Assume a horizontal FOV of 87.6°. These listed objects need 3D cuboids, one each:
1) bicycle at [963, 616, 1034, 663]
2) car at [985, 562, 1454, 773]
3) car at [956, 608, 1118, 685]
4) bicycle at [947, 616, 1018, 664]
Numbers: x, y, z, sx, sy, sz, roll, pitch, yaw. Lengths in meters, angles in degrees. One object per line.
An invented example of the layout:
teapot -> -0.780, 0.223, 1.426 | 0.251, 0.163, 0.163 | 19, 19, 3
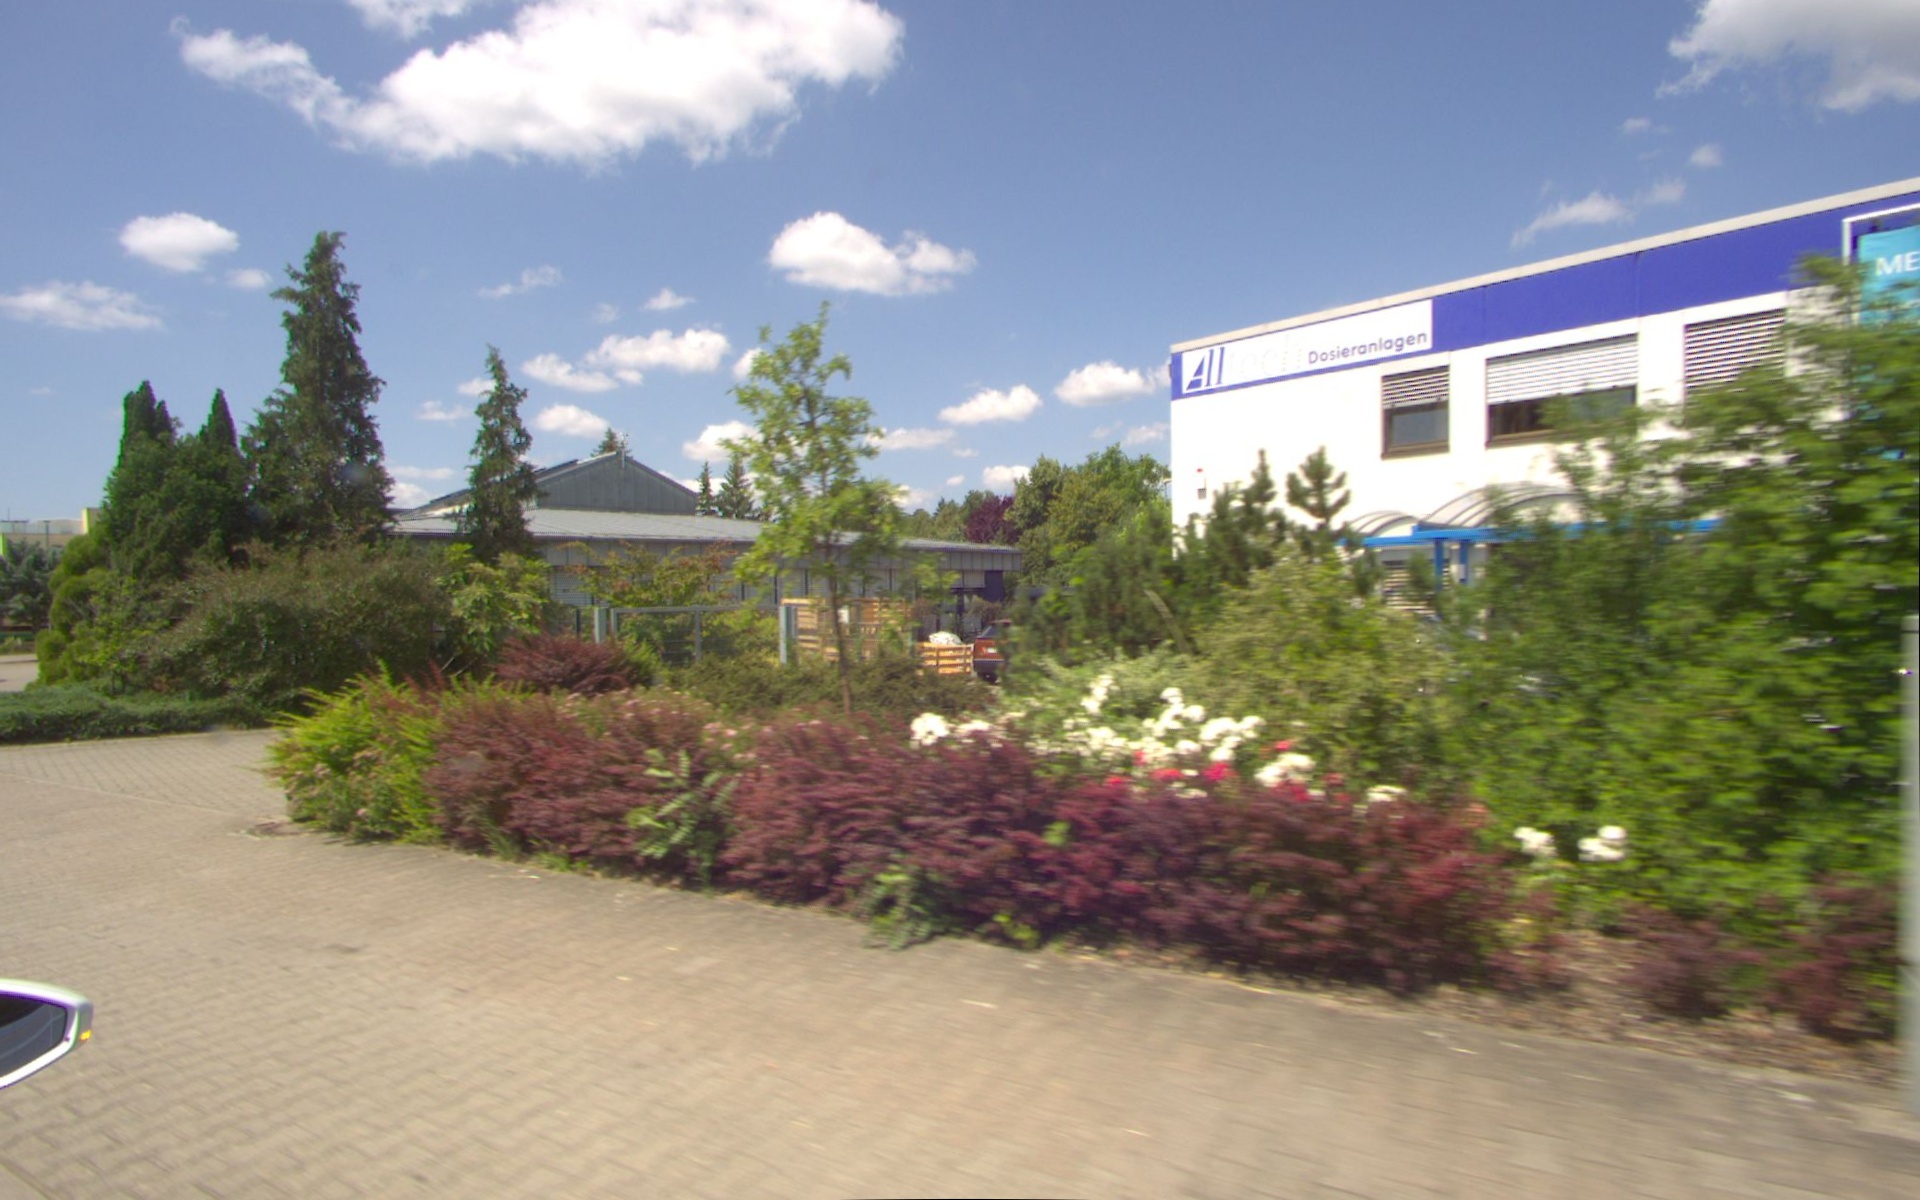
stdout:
bicycle -> 1.182, 1.242, 31.149 | 2.197, 1.380, 0.713 | -3, 0, 43
car -> 2.606, 0.661, 11.089 | 1.883, 1.821, 4.751 | -3, -1, -41
car -> 1.913, 1.052, 23.994 | 1.824, 1.682, 4.012 | -1, -1, 42
bicycle -> 0.661, 1.234, 30.572 | 2.251, 1.399, 0.664 | -3, 0, 43
